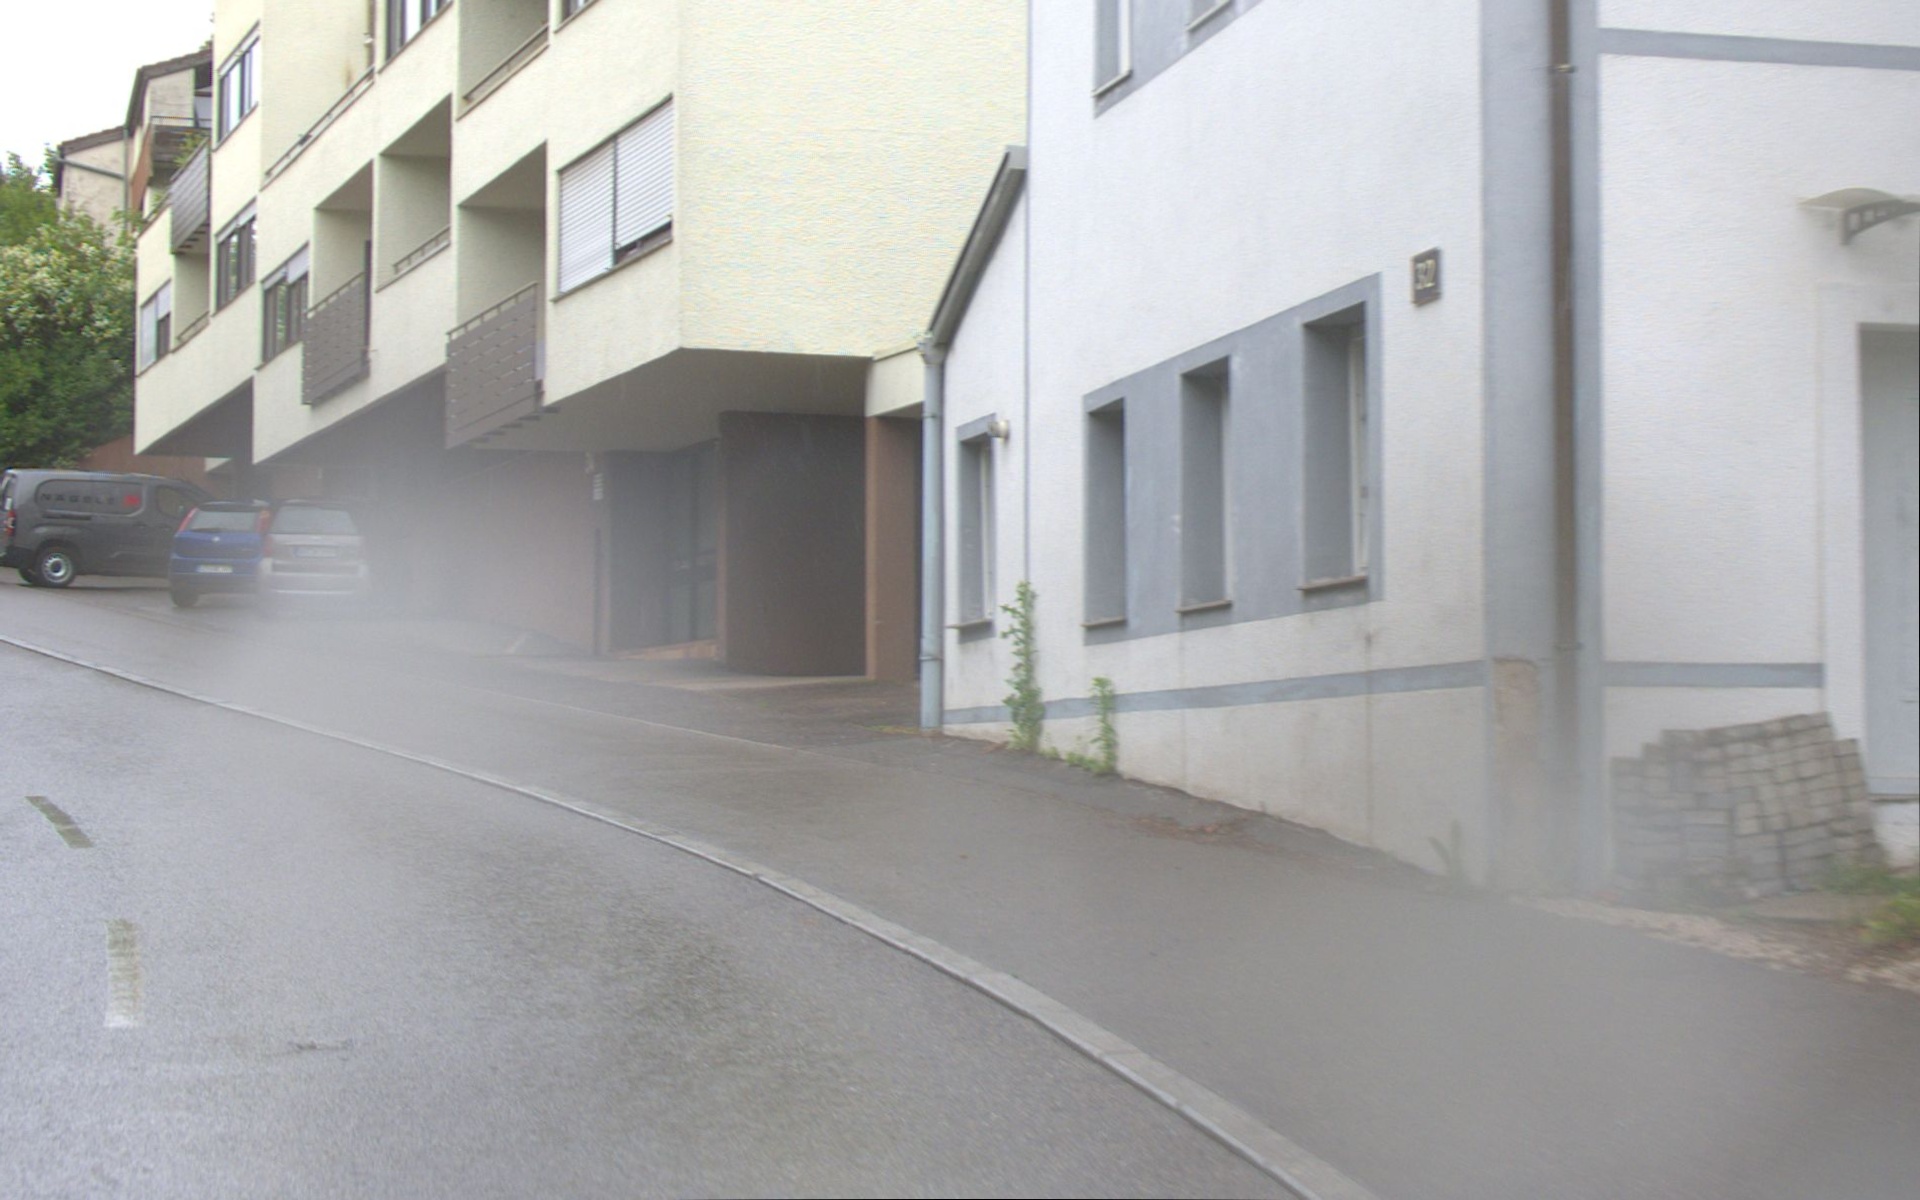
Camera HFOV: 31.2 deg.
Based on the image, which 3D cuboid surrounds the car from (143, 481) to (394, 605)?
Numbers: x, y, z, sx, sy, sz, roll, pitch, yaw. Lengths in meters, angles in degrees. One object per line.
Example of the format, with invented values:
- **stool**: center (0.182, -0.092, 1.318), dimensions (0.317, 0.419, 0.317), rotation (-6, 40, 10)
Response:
- **car**: center (-9.551, -0.798, 47.792), dimensions (1.783, 1.573, 4.064), rotation (3, 2, 14)

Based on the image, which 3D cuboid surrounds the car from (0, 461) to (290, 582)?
- **car**: center (-13.140, -1.252, 54.208), dimensions (4.706, 1.813, 2.001), rotation (0, 3, -24)

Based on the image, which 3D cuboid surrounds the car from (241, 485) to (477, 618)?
- **car**: center (-7.803, -0.657, 44.991), dimensions (1.782, 1.573, 4.065), rotation (3, 2, 9)
